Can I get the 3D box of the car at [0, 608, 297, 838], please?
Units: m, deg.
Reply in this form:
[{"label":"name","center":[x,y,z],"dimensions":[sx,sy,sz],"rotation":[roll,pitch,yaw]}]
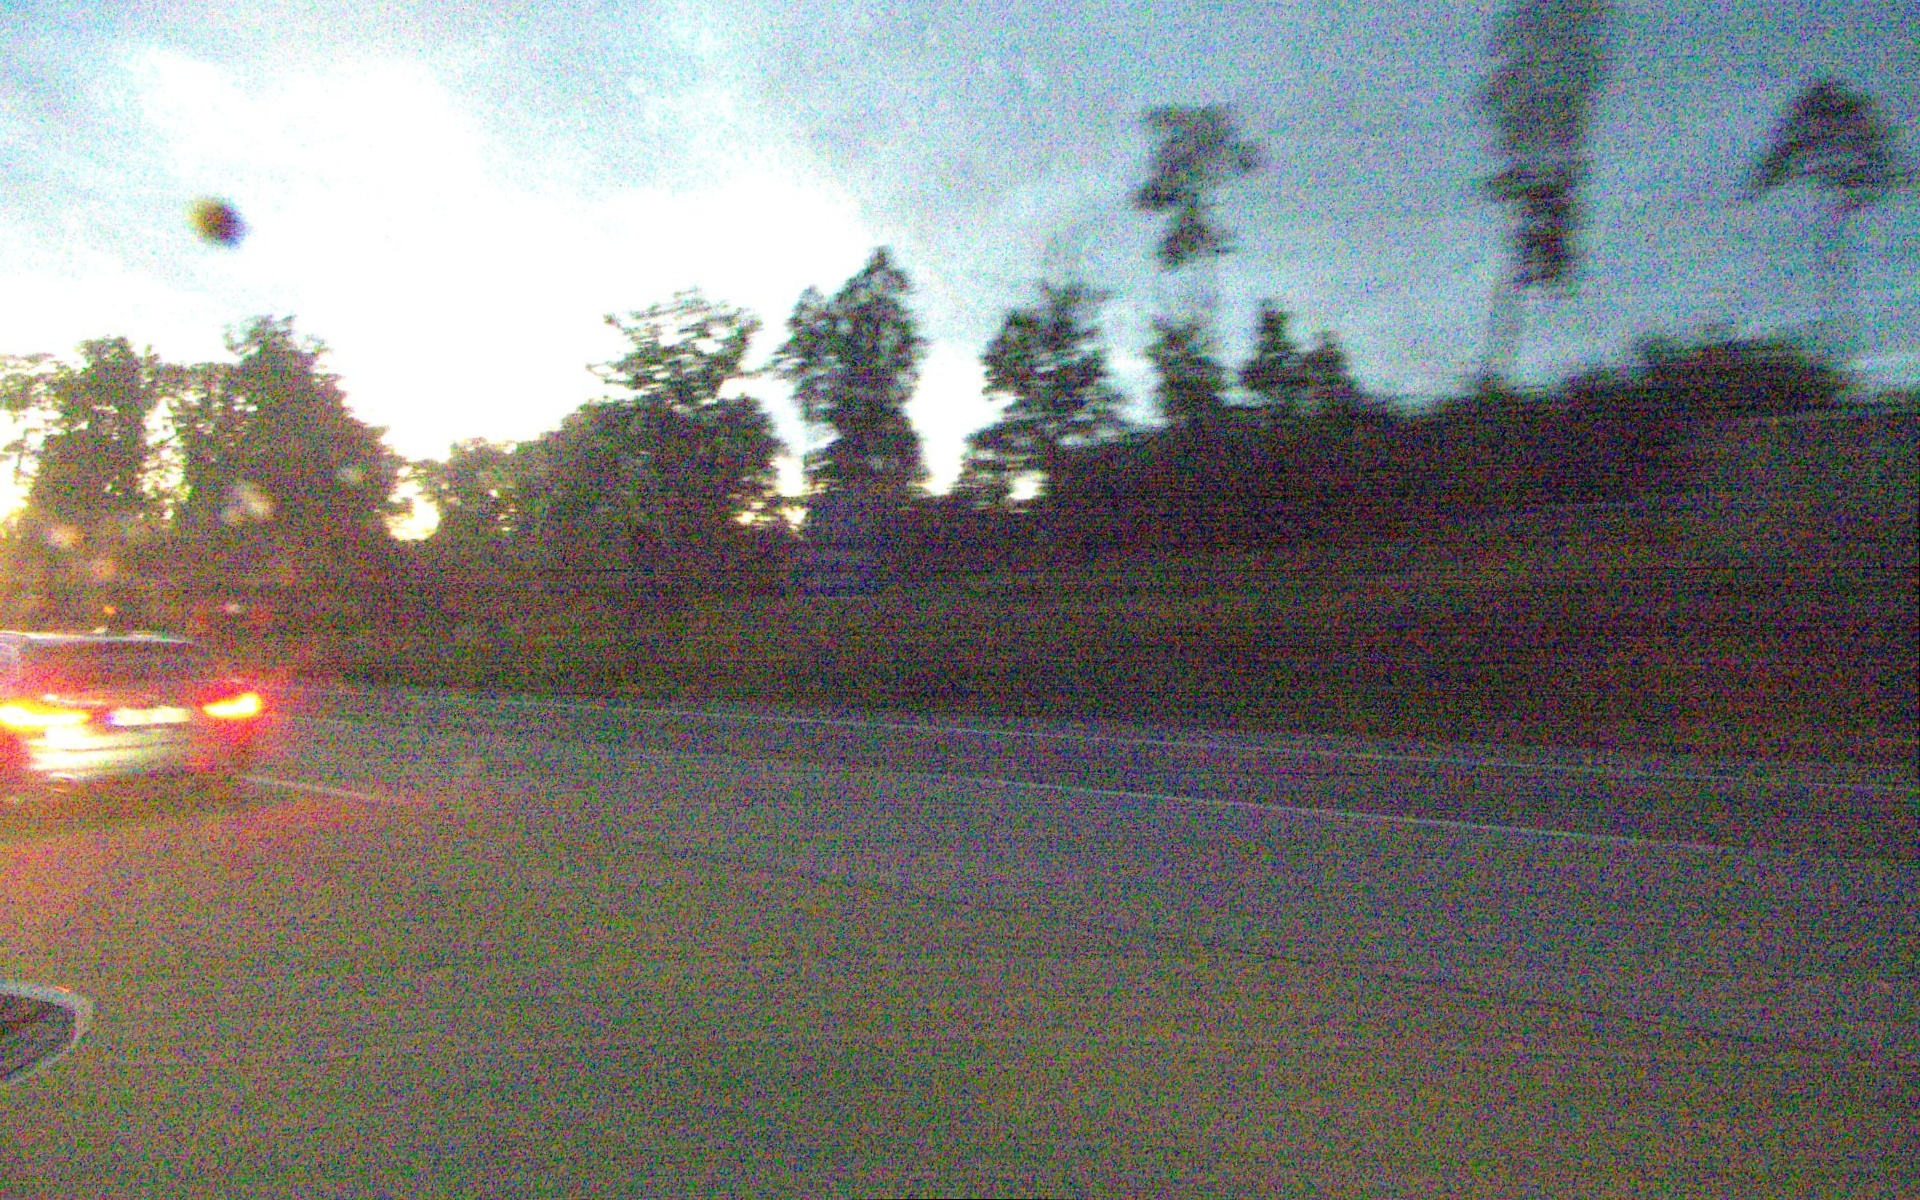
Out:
[{"label":"car","center":[-8.400,0.882,9.179],"dimensions":[5.155,1.557,1.906],"rotation":[1,0,32]}]
